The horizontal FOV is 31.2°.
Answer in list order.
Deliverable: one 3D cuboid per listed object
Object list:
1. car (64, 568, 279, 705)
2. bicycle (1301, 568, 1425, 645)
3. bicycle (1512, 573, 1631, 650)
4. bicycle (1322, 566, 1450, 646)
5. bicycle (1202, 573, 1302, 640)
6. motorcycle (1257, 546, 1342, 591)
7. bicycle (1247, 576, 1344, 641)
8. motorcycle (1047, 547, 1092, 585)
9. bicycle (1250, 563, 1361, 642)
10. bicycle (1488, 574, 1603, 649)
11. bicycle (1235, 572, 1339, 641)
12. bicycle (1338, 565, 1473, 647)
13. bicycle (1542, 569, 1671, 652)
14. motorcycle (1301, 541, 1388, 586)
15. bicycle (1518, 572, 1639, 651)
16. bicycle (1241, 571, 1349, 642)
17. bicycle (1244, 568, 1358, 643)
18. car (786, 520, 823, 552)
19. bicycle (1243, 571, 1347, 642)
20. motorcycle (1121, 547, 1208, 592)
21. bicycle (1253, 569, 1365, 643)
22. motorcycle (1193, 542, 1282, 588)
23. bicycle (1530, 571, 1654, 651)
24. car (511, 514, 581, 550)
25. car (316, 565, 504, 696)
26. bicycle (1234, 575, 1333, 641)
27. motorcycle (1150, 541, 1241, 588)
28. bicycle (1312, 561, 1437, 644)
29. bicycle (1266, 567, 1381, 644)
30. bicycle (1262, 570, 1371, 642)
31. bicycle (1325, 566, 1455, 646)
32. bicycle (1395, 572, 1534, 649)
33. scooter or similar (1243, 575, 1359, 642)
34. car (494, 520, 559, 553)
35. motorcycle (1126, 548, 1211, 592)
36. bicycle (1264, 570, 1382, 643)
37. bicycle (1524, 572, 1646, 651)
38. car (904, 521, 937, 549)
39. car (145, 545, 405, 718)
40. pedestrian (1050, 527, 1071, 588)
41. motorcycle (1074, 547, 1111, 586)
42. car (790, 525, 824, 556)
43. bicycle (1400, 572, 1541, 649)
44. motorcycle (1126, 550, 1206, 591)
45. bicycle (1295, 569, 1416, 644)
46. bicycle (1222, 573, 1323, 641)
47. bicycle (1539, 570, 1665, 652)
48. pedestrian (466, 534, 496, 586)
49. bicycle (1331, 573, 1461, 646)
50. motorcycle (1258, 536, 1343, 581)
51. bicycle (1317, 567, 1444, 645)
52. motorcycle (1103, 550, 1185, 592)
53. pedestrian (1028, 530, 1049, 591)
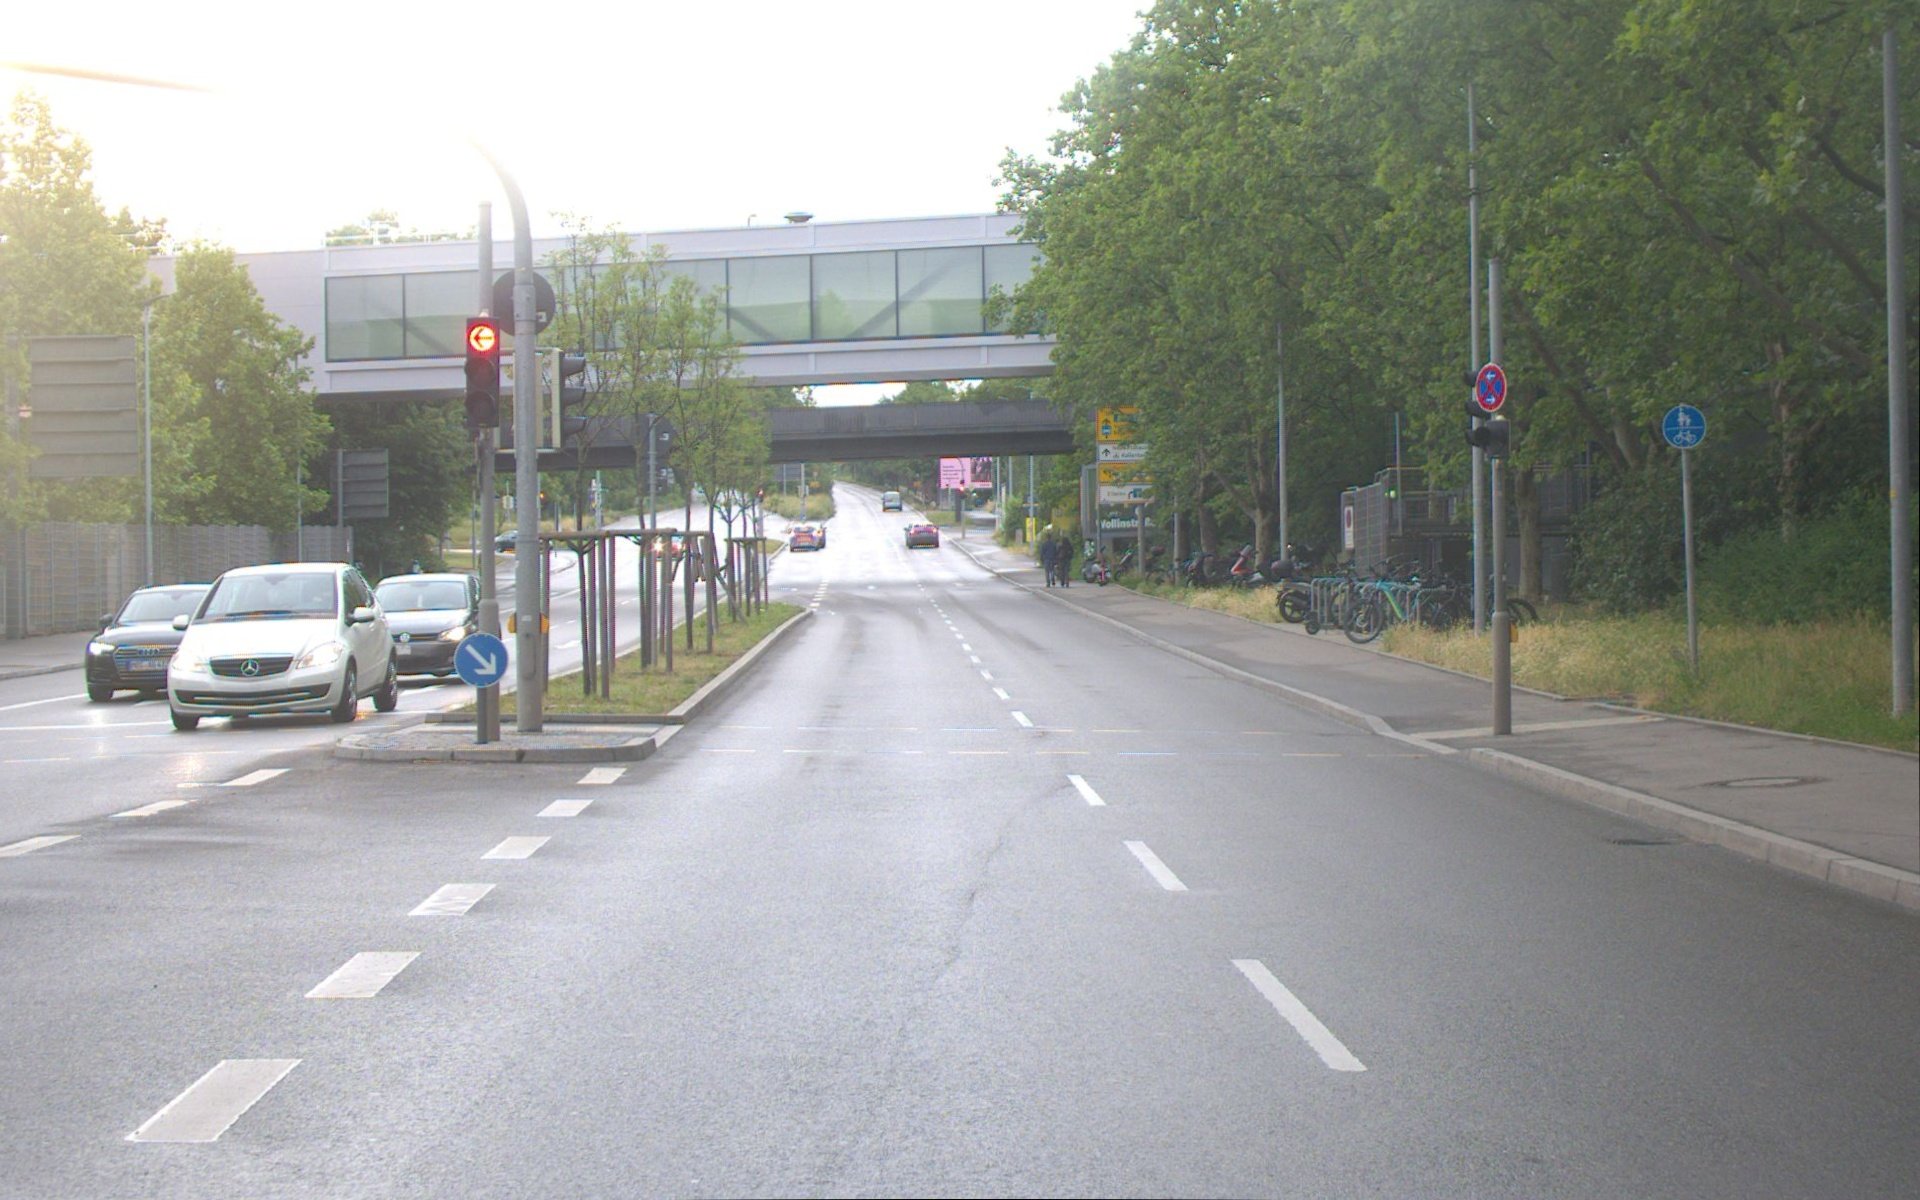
[{"bbox_3d":[-9.995,0.427,43.832,1.877,1.619,3.779,-1,1,0],"label":"car"},{"bbox_3d":[6.802,0.109,58.087,1.990,1.237,0.541,1,-1,0],"label":"bicycle"},{"bbox_3d":[10.878,0.207,61.170,1.990,1.324,0.576,1,-1,0],"label":"bicycle"},{"bbox_3d":[6.925,0.097,55.941,1.990,1.237,0.541,1,-1,0],"label":"bicycle"},{"bbox_3d":[6.010,0.138,70.810,1.963,1.324,0.654,1,-1,0],"label":"bicycle"},{"bbox_3d":[9.661,-0.891,97.754,2.369,1.198,0.722,-2,0,7],"label":"motorcycle"},{"bbox_3d":[7.136,0.184,73.117,1.963,1.324,0.654,1,-1,0],"label":"bicycle"},{"bbox_3d":[3.901,-1.195,122.714,0.790,1.307,2.377,-2,1,-19],"label":"motorcycle"},{"bbox_3d":[6.507,0.056,64.802,1.990,1.425,0.723,1,-1,0],"label":"bicycle"},{"bbox_3d":[10.776,0.220,63.298,1.990,1.324,0.576,1,-1,0],"label":"bicycle"},{"bbox_3d":[6.491,0.132,68.294,1.963,1.324,0.654,1,-1,0],"label":"bicycle"},{"bbox_3d":[6.879,0.088,53.128,1.990,1.212,0.541,1,-1,0],"label":"bicycle"},{"bbox_3d":[10.731,0.173,57.095,1.990,1.324,0.576,1,-1,0],"label":"bicycle"},{"bbox_3d":[10.760,-1.015,96.183,2.369,1.198,0.722,-2,0,7],"label":"motorcycle"},{"bbox_3d":[10.875,0.202,60.501,1.990,1.324,0.576,1,-1,0],"label":"bicycle"},{"bbox_3d":[6.461,0.129,66.367,1.990,1.324,0.576,1,-1,0],"label":"bicycle"},{"bbox_3d":[6.256,0.100,63.124,1.990,1.324,0.576,1,-1,0],"label":"bicycle"},{"bbox_3d":[-9.219,-3.772,203.884,1.993,1.756,4.000,1,0,0],"label":"car"},{"bbox_3d":[6.586,0.130,67.604,1.960,1.324,0.576,1,-1,0],"label":"bicycle"},{"bbox_3d":[5.778,-0.868,97.013,2.369,1.198,0.722,-2,0,7],"label":"motorcycle"},{"bbox_3d":[6.504,0.114,64.068,1.990,1.324,0.576,1,-1,0],"label":"bicycle"},{"bbox_3d":[7.583,-0.953,94.047,2.369,1.198,0.722,-2,0,7],"label":"motorcycle"},{"bbox_3d":[10.876,0.192,59.188,1.990,1.324,0.576,1,-1,0],"label":"bicycle"},{"bbox_3d":[-24.159,-3.985,200.583,1.994,2.007,3.998,2,-1,-44],"label":"car"},{"bbox_3d":[-7.208,0.368,45.383,1.877,1.619,3.779,-1,1,0],"label":"car"},{"bbox_3d":[6.739,0.163,71.613,1.963,1.324,0.654,1,-1,0],"label":"bicycle"},{"bbox_3d":[6.283,-0.945,91.704,2.369,1.198,0.722,-2,0,7],"label":"motorcycle"},{"bbox_3d":[6.908,0.041,57.396,1.990,1.336,0.541,1,-1,0],"label":"bicycle"},{"bbox_3d":[6.589,0.103,62.316,1.990,1.324,0.576,1,-1,0],"label":"bicycle"},{"bbox_3d":[6.797,0.121,65.656,1.990,1.324,0.576,1,-1,0],"label":"bicycle"},{"bbox_3d":[6.918,0.097,55.345,1.990,1.229,0.541,1,-1,0],"label":"bicycle"},{"bbox_3d":[7.578,0.156,51.670,1.990,1.091,0.541,1,-1,0],"label":"bicycle"},{"bbox_3d":[6.064,0.150,61.202,1.990,1.134,0.541,1,-1,0],"label":"scooter or similar"},{"bbox_3d":[-27.280,-4.011,216.374,1.994,2.007,3.998,2,-1,-44],"label":"car"},{"bbox_3d":[5.993,-0.865,98.786,2.369,1.198,0.722,-2,0,7],"label":"motorcycle"},{"bbox_3d":[6.372,0.115,60.410,1.990,1.237,0.541,1,-1,0],"label":"bicycle"},{"bbox_3d":[10.869,0.197,59.853,1.990,1.324,0.576,1,-1,0],"label":"bicycle"},{"bbox_3d":[-2.298,-3.775,200.386,1.875,1.492,4.068,1,0,0],"label":"car"},{"bbox_3d":[-6.866,0.278,34.808,1.877,1.619,3.779,-1,1,0],"label":"car"},{"bbox_3d":[3.309,-1.400,113.322,0.622,2.007,0.605,-2,0,0],"label":"pedestrian"},{"bbox_3d":[4.593,-1.155,119.540,0.790,1.307,2.377,-2,1,-9],"label":"motorcycle"},{"bbox_3d":[-9.272,-3.579,208.413,1.884,1.756,3.969,1,0,0],"label":"car"},{"bbox_3d":[7.584,0.152,51.101,1.990,1.091,0.541,1,-1,0],"label":"bicycle"},{"bbox_3d":[6.315,-0.902,105.475,2.369,1.198,0.792,-2,0,7],"label":"motorcycle"},{"bbox_3d":[6.787,0.116,59.036,1.990,1.237,0.541,1,-1,0],"label":"bicycle"},{"bbox_3d":[6.353,0.140,69.896,1.963,1.324,0.654,1,-1,0],"label":"bicycle"},{"bbox_3d":[10.904,0.188,58.424,1.990,1.324,0.576,1,-1,0],"label":"bicycle"},{"bbox_3d":[-19.080,-1.591,137.057,0.872,1.998,0.855,3,-2,-26],"label":"pedestrian"},{"bbox_3d":[6.938,0.153,54.735,1.990,1.091,0.541,1,-1,1],"label":"bicycle"},{"bbox_3d":[9.754,-1.193,98.563,2.369,1.198,0.722,-2,0,7],"label":"motorcycle"},{"bbox_3d":[6.926,0.102,56.683,1.990,1.237,0.541,1,-1,0],"label":"bicycle"},{"bbox_3d":[5.467,-0.867,102.204,2.369,1.198,0.722,-2,0,7],"label":"motorcycle"},{"bbox_3d":[2.584,-1.308,113.499,0.622,2.007,0.605,-2,0,0],"label":"pedestrian"}]
